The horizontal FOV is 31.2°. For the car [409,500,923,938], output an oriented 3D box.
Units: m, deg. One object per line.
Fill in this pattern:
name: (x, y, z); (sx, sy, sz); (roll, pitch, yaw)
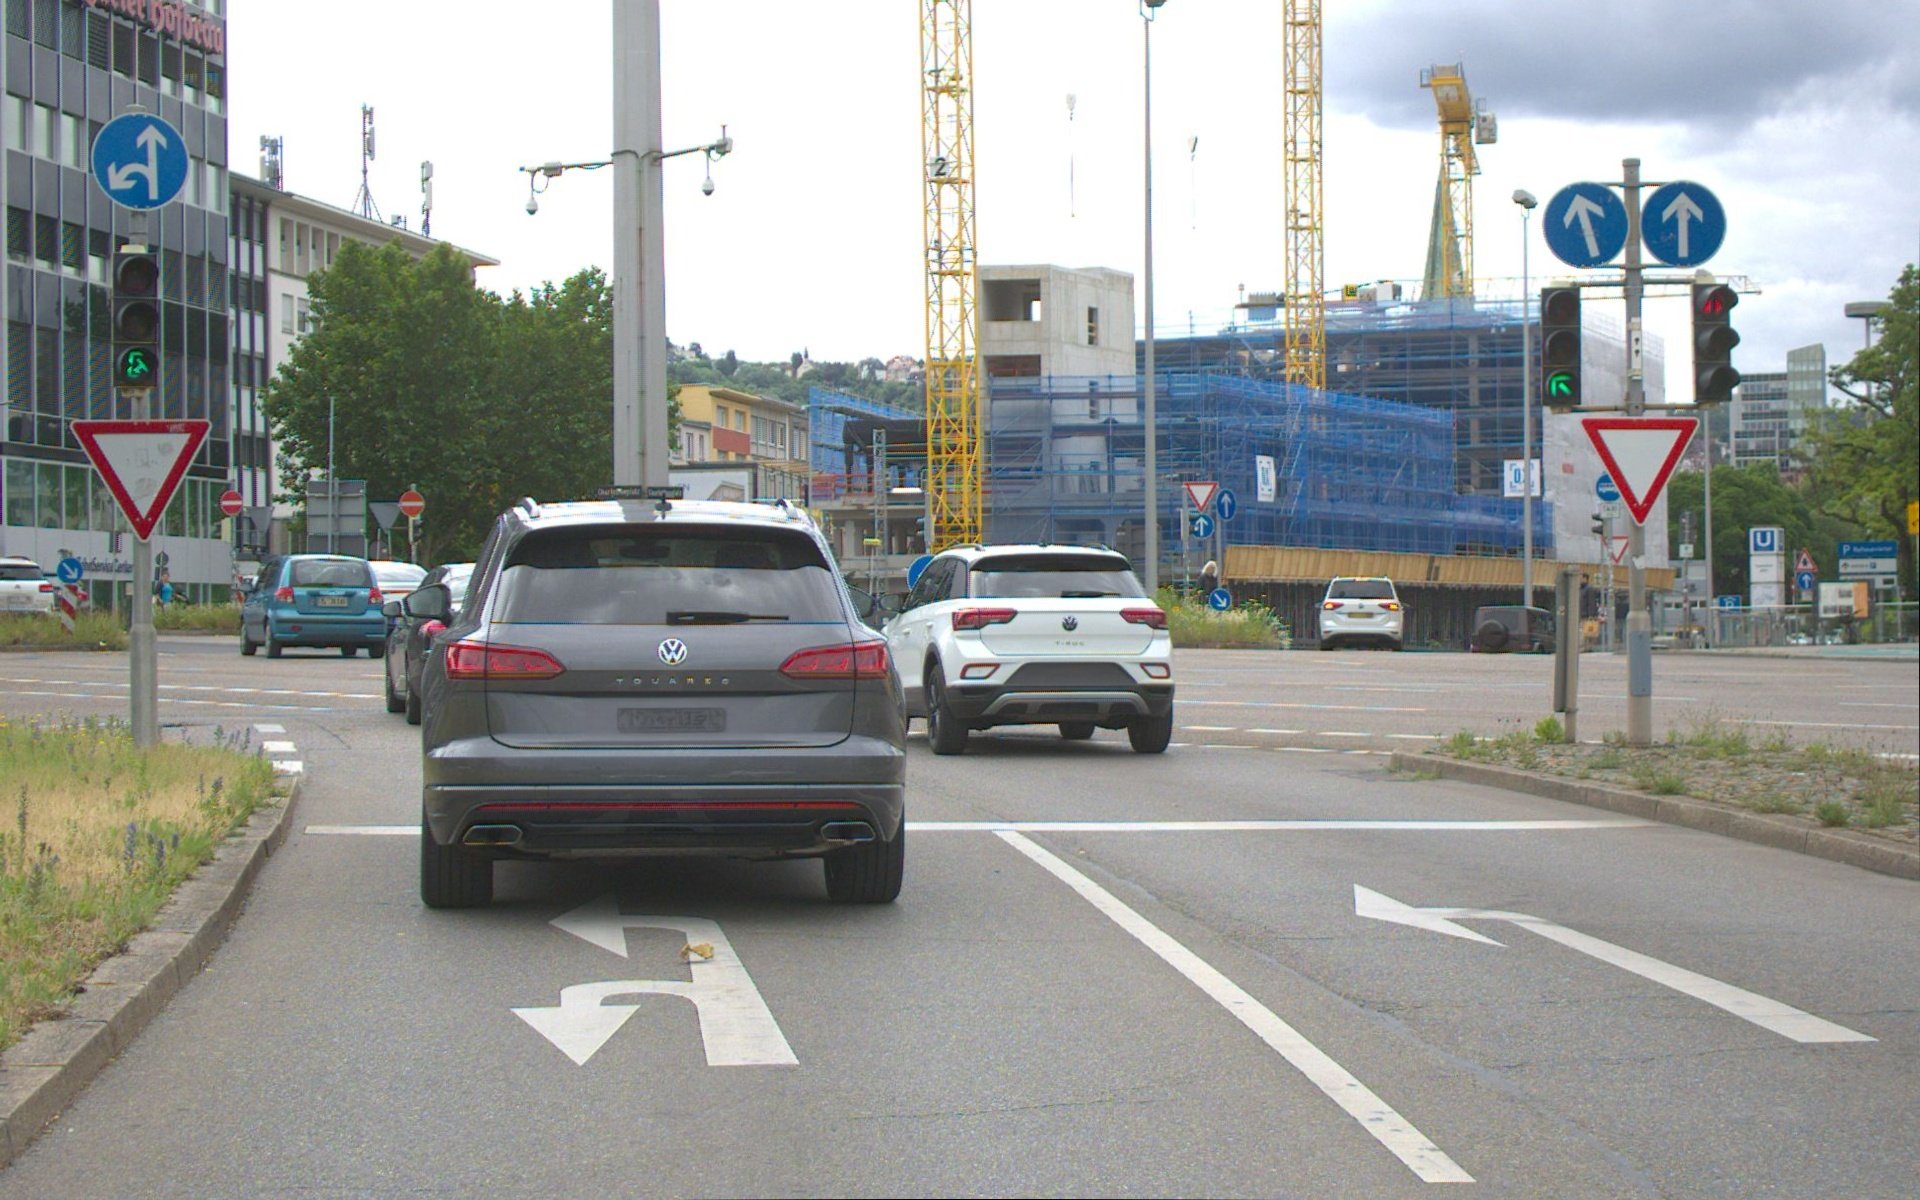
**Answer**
car: (-1.330, 0.400, 14.980); (1.932, 1.641, 4.001); (0, 1, -6)

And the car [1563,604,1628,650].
car: (22.175, 0.934, 119.892); (1.804, 1.497, 3.978); (1, 1, 16)

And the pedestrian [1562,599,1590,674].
pedestrian: (13.047, 0.770, 72.845); (0.498, 1.569, 0.399); (1, 1, 20)

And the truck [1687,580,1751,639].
truck: (33.109, 0.389, 149.881); (2.130, 2.445, 4.823); (1, 1, 20)

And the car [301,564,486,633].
car: (-9.918, -0.049, 59.951); (1.670, 1.135, 4.070); (0, 1, -33)

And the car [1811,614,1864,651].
car: (49.922, 1.824, 195.641); (1.993, 2.007, 4.000); (0, 1, 0)

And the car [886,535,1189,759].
car: (0.519, 0.303, 26.495); (1.893, 1.580, 3.802); (0, 1, -5)

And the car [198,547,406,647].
car: (-9.409, -0.071, 48.946); (1.793, 1.352, 4.071); (0, 1, -28)

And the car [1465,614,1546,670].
car: (15.611, 1.183, 98.275); (1.804, 1.497, 3.978); (1, 1, 16)

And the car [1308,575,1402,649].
car: (8.648, 0.237, 75.068); (1.804, 1.497, 3.980); (1, 1, 10)

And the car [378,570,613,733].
car: (-4.260, 0.418, 31.094); (1.792, 1.352, 4.071); (0, 1, -12)

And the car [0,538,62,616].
car: (-19.575, -0.480, 68.405); (1.815, 1.491, 3.905); (-1, 2, -40)
